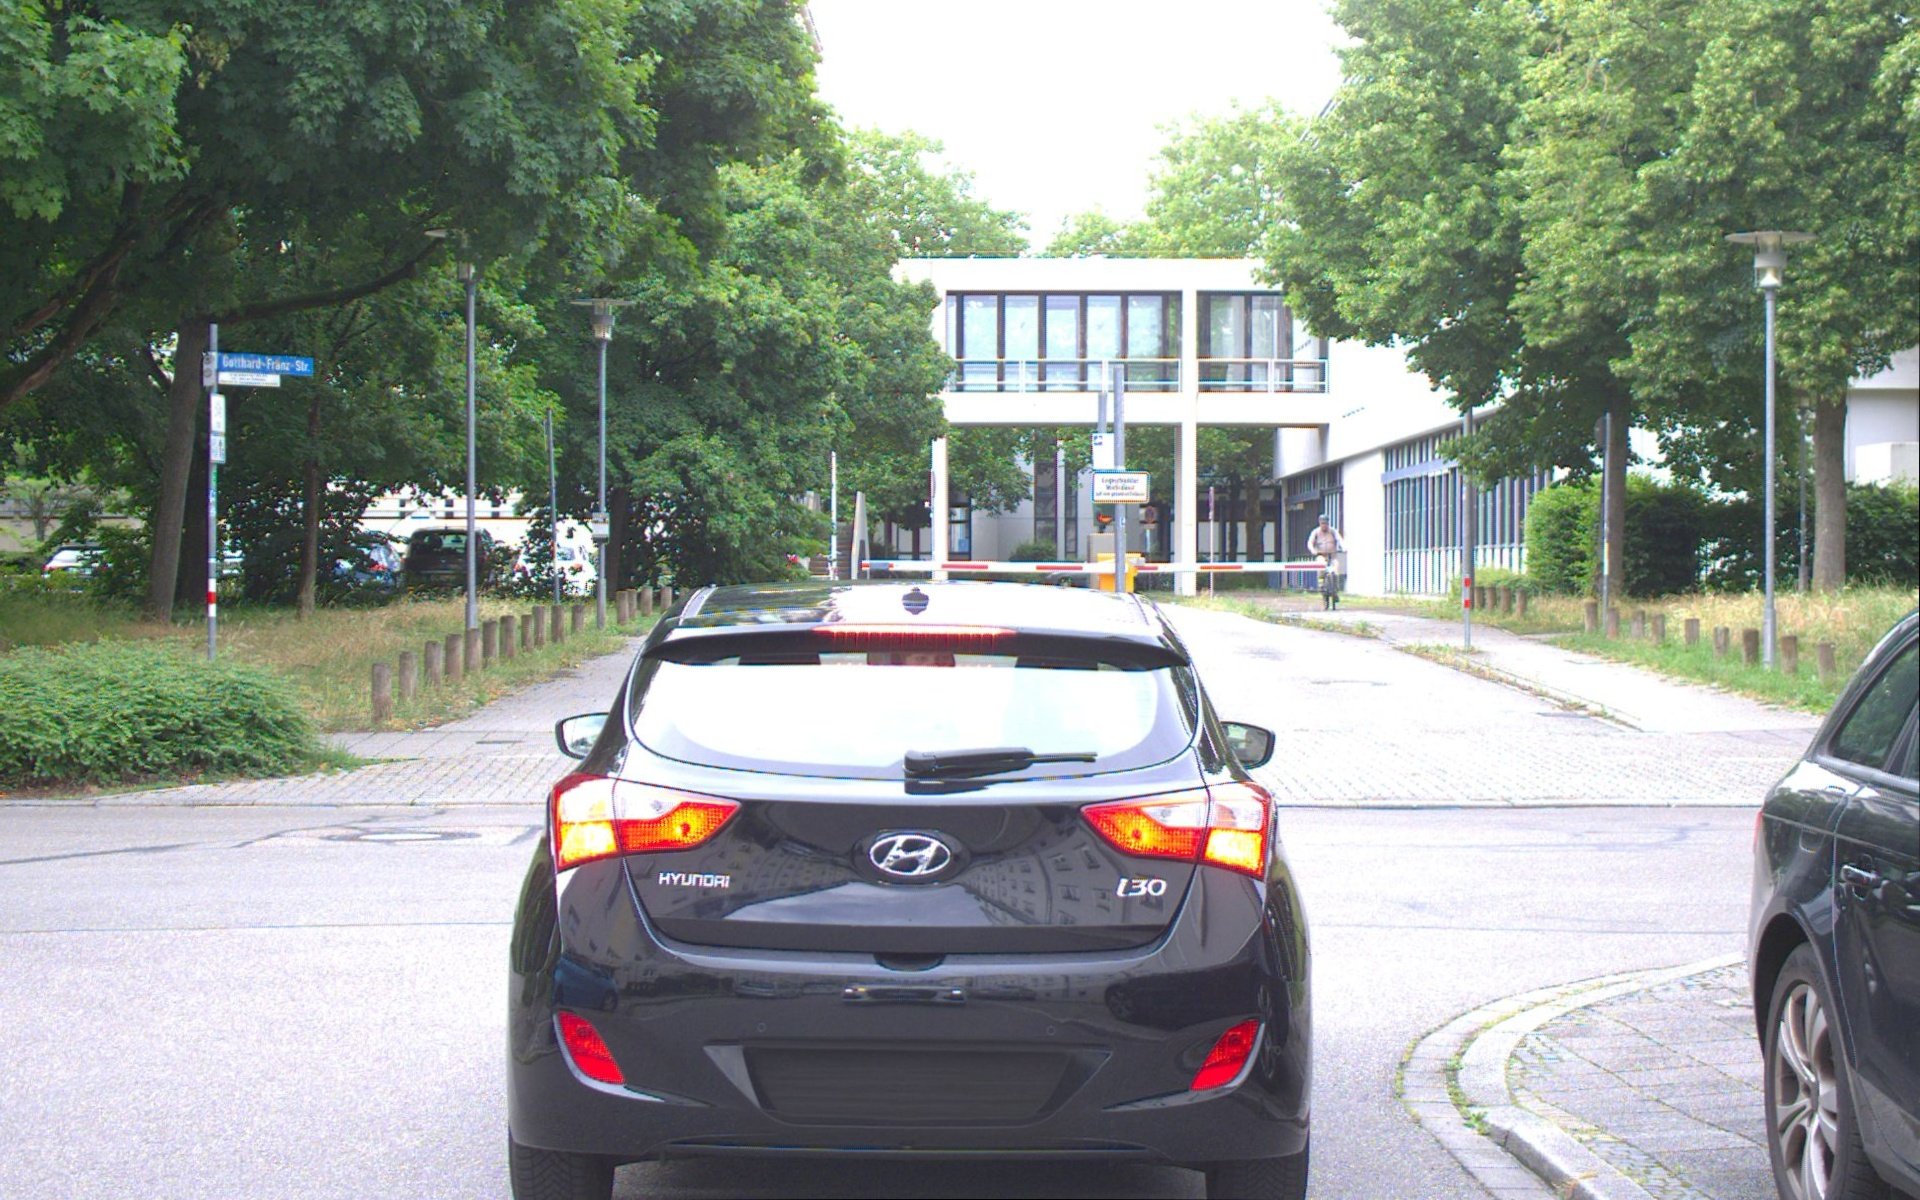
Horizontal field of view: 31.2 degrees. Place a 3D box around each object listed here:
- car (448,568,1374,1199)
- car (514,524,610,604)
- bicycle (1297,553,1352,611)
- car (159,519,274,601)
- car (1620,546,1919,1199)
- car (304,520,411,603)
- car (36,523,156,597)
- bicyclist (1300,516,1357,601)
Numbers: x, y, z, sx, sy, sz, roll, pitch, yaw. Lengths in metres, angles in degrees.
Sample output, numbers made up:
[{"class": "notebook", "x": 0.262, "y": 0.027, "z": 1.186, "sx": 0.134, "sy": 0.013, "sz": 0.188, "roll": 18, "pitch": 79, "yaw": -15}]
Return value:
[{"class": "car", "x": -0.189, "y": 0.657, "z": 8.798, "sx": 1.846, "sy": 1.457, "sz": 3.828, "roll": 0, "pitch": 0, "yaw": -3}, {"class": "car", "x": -8.960, "y": -0.800, "z": 77.598, "sx": 1.993, "sy": 1.756, "sz": 4.001, "roll": 0, "pitch": 0, "yaw": -4}, {"class": "bicycle", "x": 7.104, "y": -0.360, "z": 67.030, "sx": 0.866, "sy": 1.071, "sz": 2.142, "roll": 0, "pitch": 1, "yaw": 1}, {"class": "car", "x": -16.658, "y": -0.872, "z": 77.197, "sx": 1.993, "sy": 1.722, "sz": 4.000, "roll": 0, "pitch": -1, "yaw": -4}, {"class": "car", "x": 2.603, "y": 0.637, "z": 5.799, "sx": 1.860, "sy": 1.457, "sz": 4.726, "roll": -1, "pitch": 1, "yaw": -3}, {"class": "car", "x": -13.555, "y": -0.844, "z": 77.530, "sx": 1.993, "sy": 1.788, "sz": 4.000, "roll": 0, "pitch": -1, "yaw": -4}, {"class": "car", "x": -19.381, "y": -0.896, "z": 77.262, "sx": 1.993, "sy": 1.612, "sz": 4.001, "roll": 0, "pitch": 1, "yaw": -4}, {"class": "bicyclist", "x": 7.176, "y": -0.818, "z": 67.014, "sx": 1.017, "sy": 1.639, "sz": 0.923, "roll": 0, "pitch": 1, "yaw": 1}]
